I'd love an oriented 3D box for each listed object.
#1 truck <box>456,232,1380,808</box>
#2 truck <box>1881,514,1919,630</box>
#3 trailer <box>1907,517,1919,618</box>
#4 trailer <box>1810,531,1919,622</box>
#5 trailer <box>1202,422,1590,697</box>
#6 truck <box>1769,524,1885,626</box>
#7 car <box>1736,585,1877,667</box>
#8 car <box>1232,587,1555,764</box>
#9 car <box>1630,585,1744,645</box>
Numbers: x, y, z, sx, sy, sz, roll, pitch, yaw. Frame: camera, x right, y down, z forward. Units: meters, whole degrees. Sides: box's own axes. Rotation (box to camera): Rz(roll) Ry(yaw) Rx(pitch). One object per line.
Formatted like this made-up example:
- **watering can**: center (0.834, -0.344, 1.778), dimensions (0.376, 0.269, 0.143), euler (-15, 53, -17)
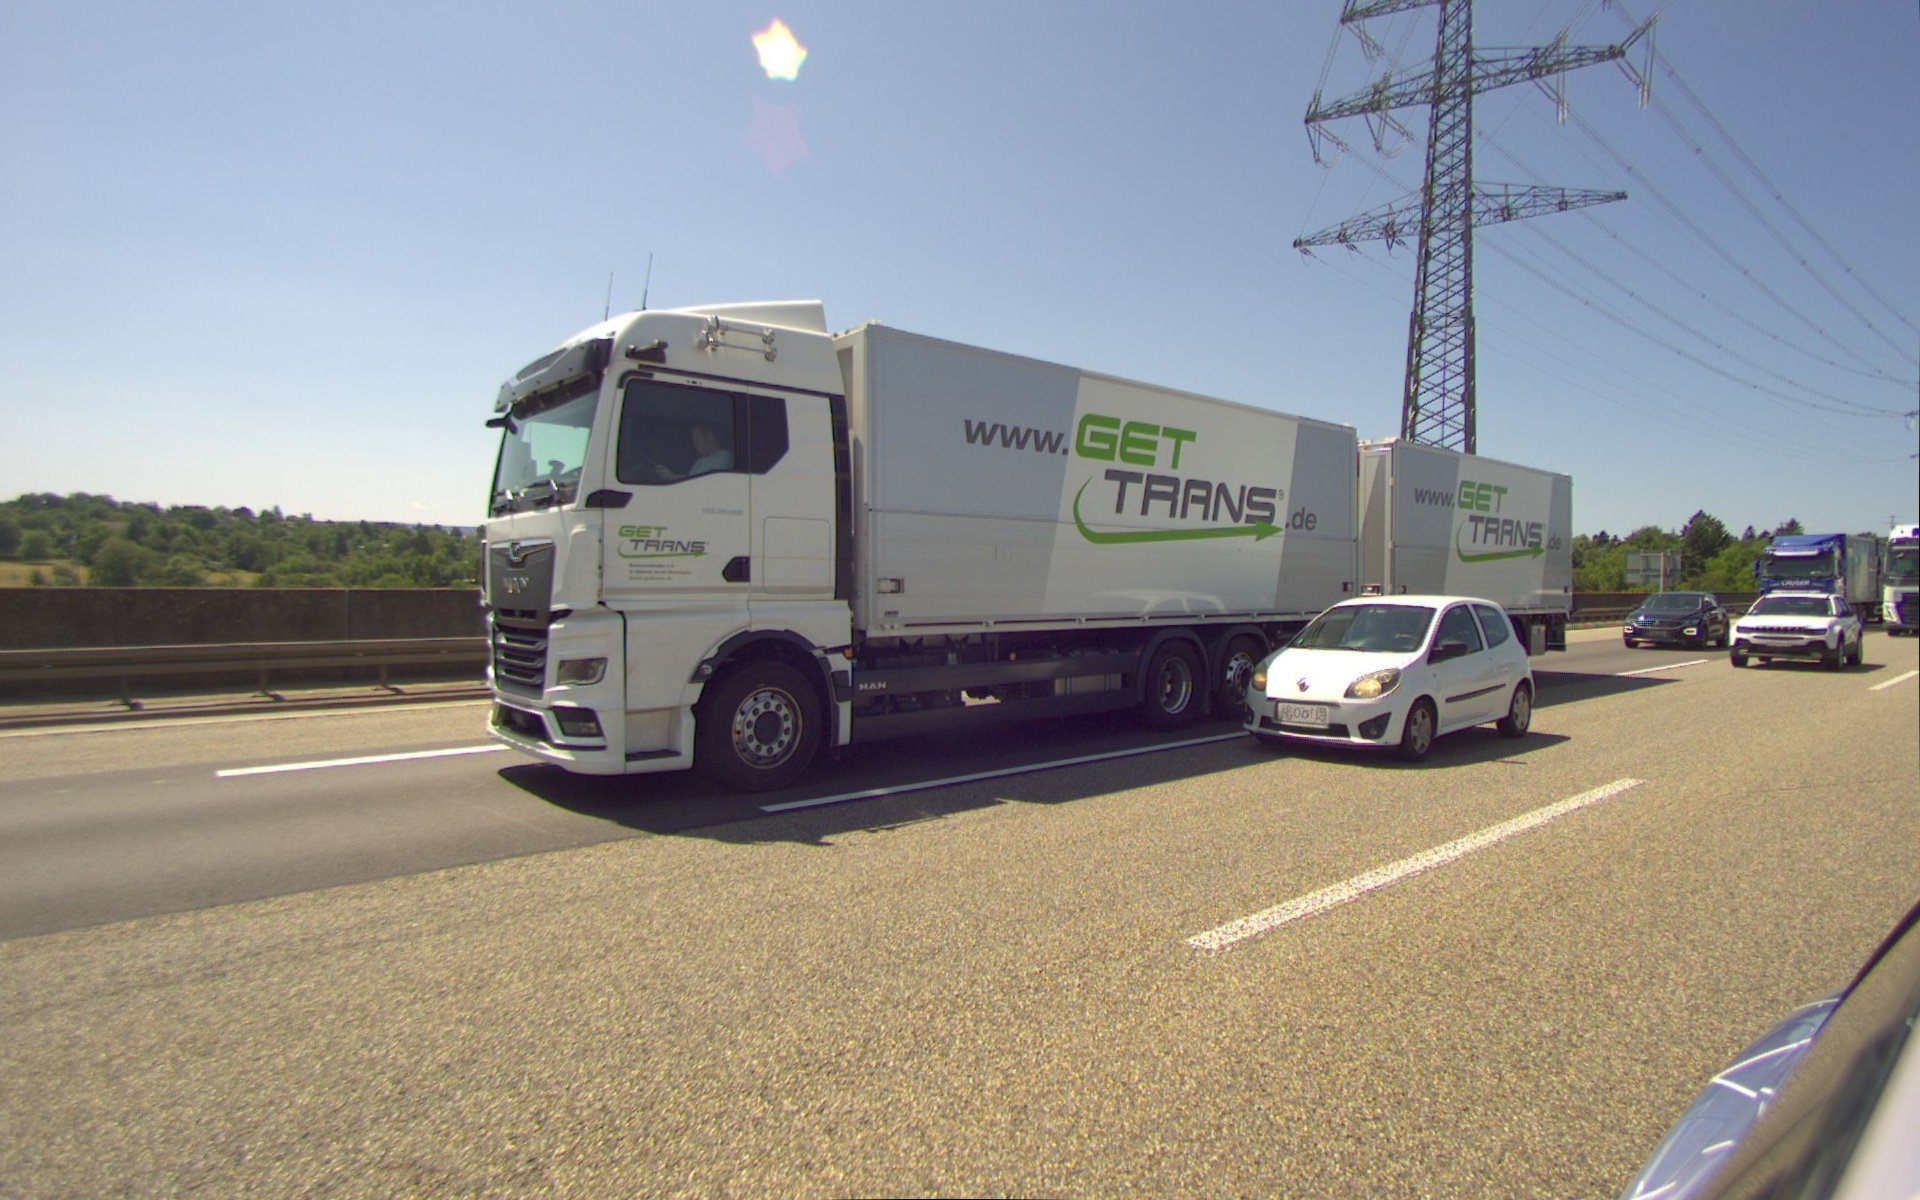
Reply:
- **truck**: center (0.631, -0.555, 10.984), dimensions (10.581, 3.648, 2.855), euler (-1, 0, -41)
- **truck**: center (35.449, -1.033, 36.226), dimensions (6.624, 3.941, 2.911), euler (-1, 1, -41)
- **trailer**: center (41.559, -1.356, 41.584), dimensions (9.605, 3.917, 2.895), euler (-2, 1, -41)
- **trailer**: center (44.311, -1.166, 49.312), dimensions (10.693, 4.044, 2.542), euler (-2, 1, -40)
- **trailer**: center (7.721, -0.580, 17.193), dimensions (8.148, 3.640, 2.849), euler (-1, 0, -41)
- **truck**: center (37.228, -1.040, 43.352), dimensions (7.786, 4.018, 2.516), euler (-1, 0, -40)
- **car**: center (17.693, 0.465, 21.097), dimensions (3.688, 1.554, 1.720), euler (-1, 1, -41)
- **car**: center (4.451, 0.605, 10.186), dimensions (3.566, 1.458, 1.582), euler (-1, 1, -41)
- **car**: center (19.973, 0.358, 27.753), dimensions (3.820, 1.524, 1.708), euler (-1, 1, -41)
